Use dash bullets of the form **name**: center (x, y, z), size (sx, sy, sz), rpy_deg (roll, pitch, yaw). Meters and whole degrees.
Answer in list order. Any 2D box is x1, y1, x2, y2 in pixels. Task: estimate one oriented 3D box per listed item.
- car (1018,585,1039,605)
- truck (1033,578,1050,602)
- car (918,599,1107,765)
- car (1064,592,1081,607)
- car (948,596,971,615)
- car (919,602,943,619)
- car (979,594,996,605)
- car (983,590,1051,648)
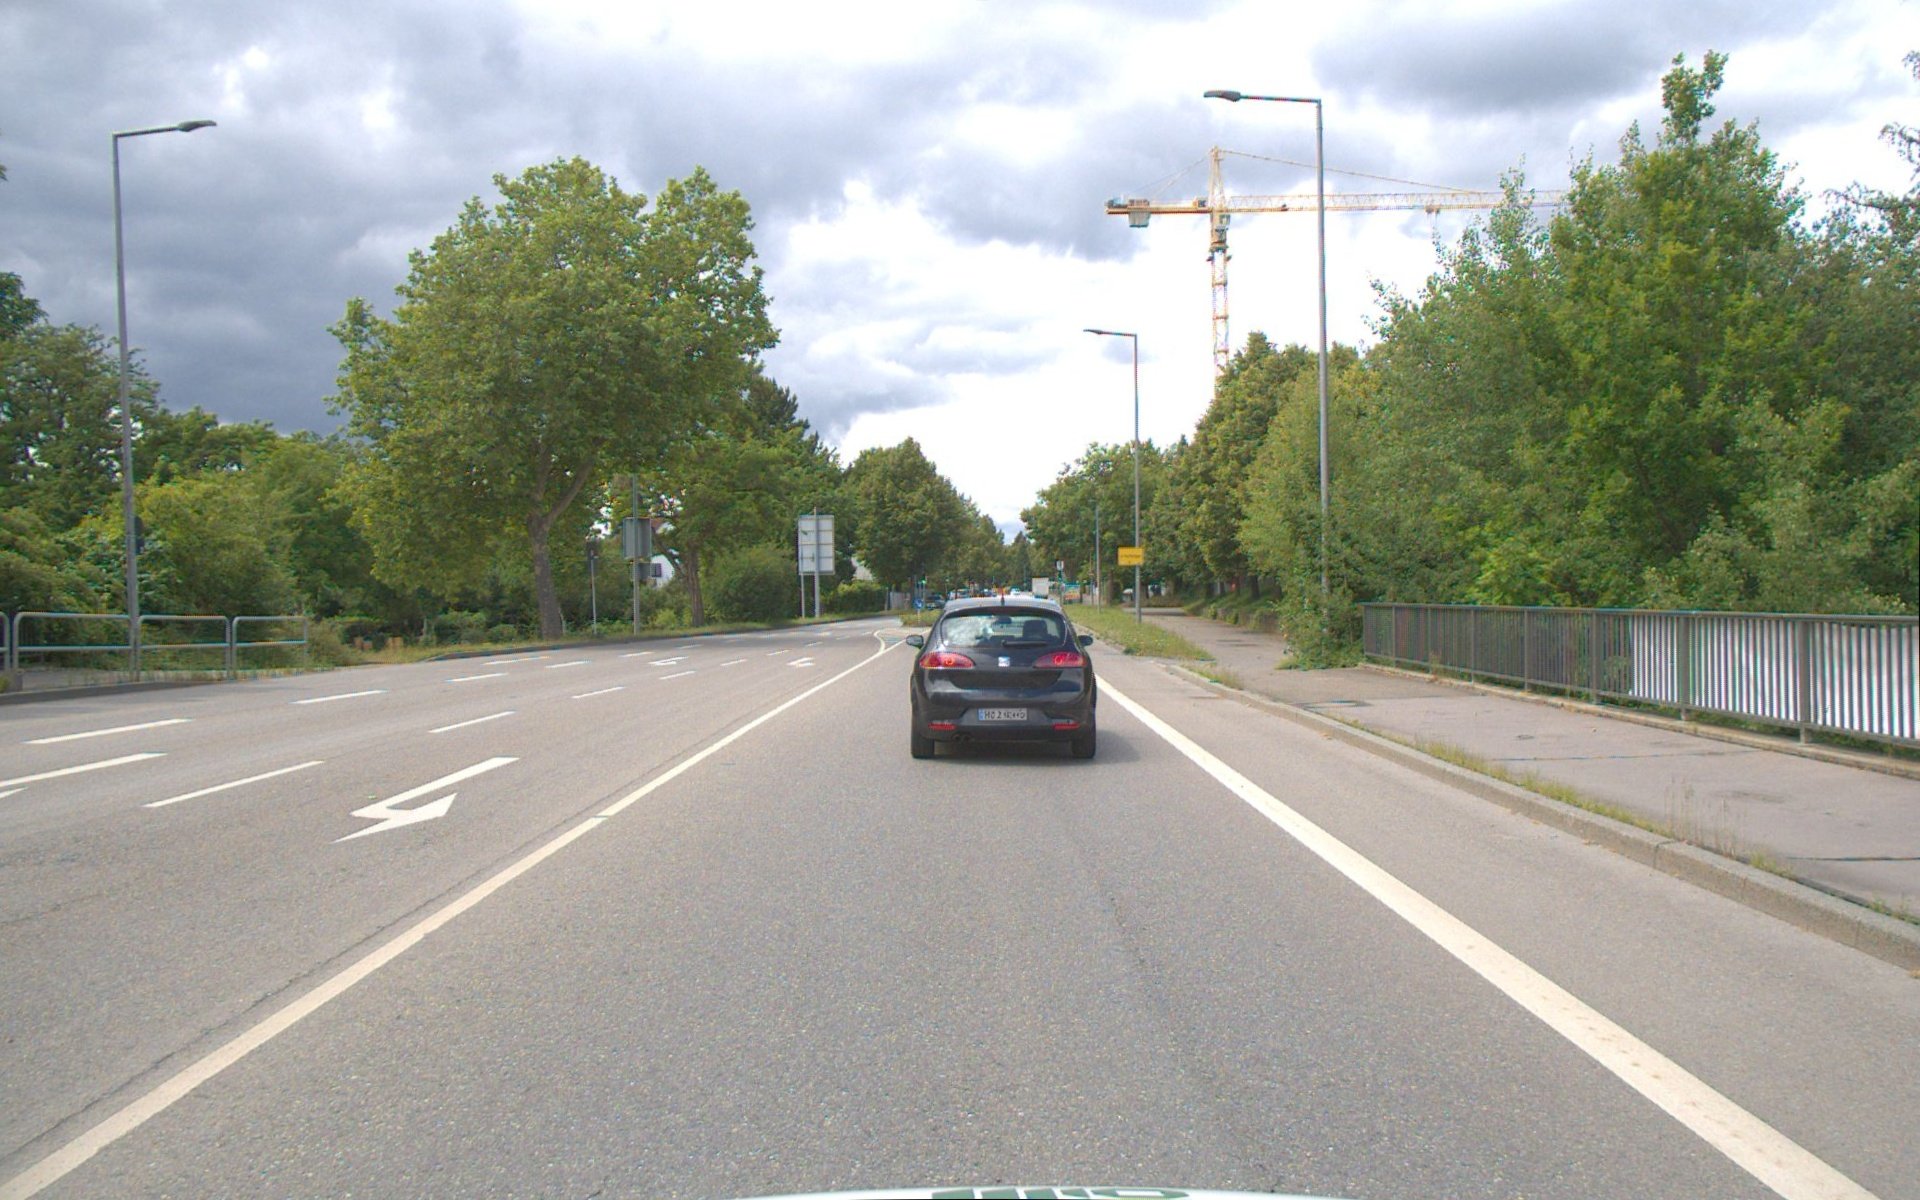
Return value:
- **car**: center (6.338, -0.466, 152.851), size (1.842, 1.718, 4.215), rpy_deg (-1, 0, 3)
- **truck**: center (11.226, -1.332, 227.647), size (2.231, 3.158, 8.514), rpy_deg (1, 0, 3)
- **car**: center (0.434, 0.708, 16.212), size (1.629, 1.426, 3.811), rpy_deg (0, 0, -1)
- **car**: center (11.749, -0.040, 172.623), size (1.652, 1.516, 3.356), rpy_deg (-1, 0, 3)
- **car**: center (-0.052, 0.537, 178.848), size (2.056, 1.929, 5.786), rpy_deg (-3, 0, 4)
- **car**: center (-2.626, 0.923, 149.821), size (1.682, 1.419, 4.803), rpy_deg (-3, 0, 4)
- **car**: center (3.919, -0.077, 235.967), size (2.056, 1.532, 5.786), rpy_deg (-3, 0, 4)
- **car**: center (1.611, 0.510, 46.360), size (1.807, 1.536, 3.813), rpy_deg (0, 0, 2)
